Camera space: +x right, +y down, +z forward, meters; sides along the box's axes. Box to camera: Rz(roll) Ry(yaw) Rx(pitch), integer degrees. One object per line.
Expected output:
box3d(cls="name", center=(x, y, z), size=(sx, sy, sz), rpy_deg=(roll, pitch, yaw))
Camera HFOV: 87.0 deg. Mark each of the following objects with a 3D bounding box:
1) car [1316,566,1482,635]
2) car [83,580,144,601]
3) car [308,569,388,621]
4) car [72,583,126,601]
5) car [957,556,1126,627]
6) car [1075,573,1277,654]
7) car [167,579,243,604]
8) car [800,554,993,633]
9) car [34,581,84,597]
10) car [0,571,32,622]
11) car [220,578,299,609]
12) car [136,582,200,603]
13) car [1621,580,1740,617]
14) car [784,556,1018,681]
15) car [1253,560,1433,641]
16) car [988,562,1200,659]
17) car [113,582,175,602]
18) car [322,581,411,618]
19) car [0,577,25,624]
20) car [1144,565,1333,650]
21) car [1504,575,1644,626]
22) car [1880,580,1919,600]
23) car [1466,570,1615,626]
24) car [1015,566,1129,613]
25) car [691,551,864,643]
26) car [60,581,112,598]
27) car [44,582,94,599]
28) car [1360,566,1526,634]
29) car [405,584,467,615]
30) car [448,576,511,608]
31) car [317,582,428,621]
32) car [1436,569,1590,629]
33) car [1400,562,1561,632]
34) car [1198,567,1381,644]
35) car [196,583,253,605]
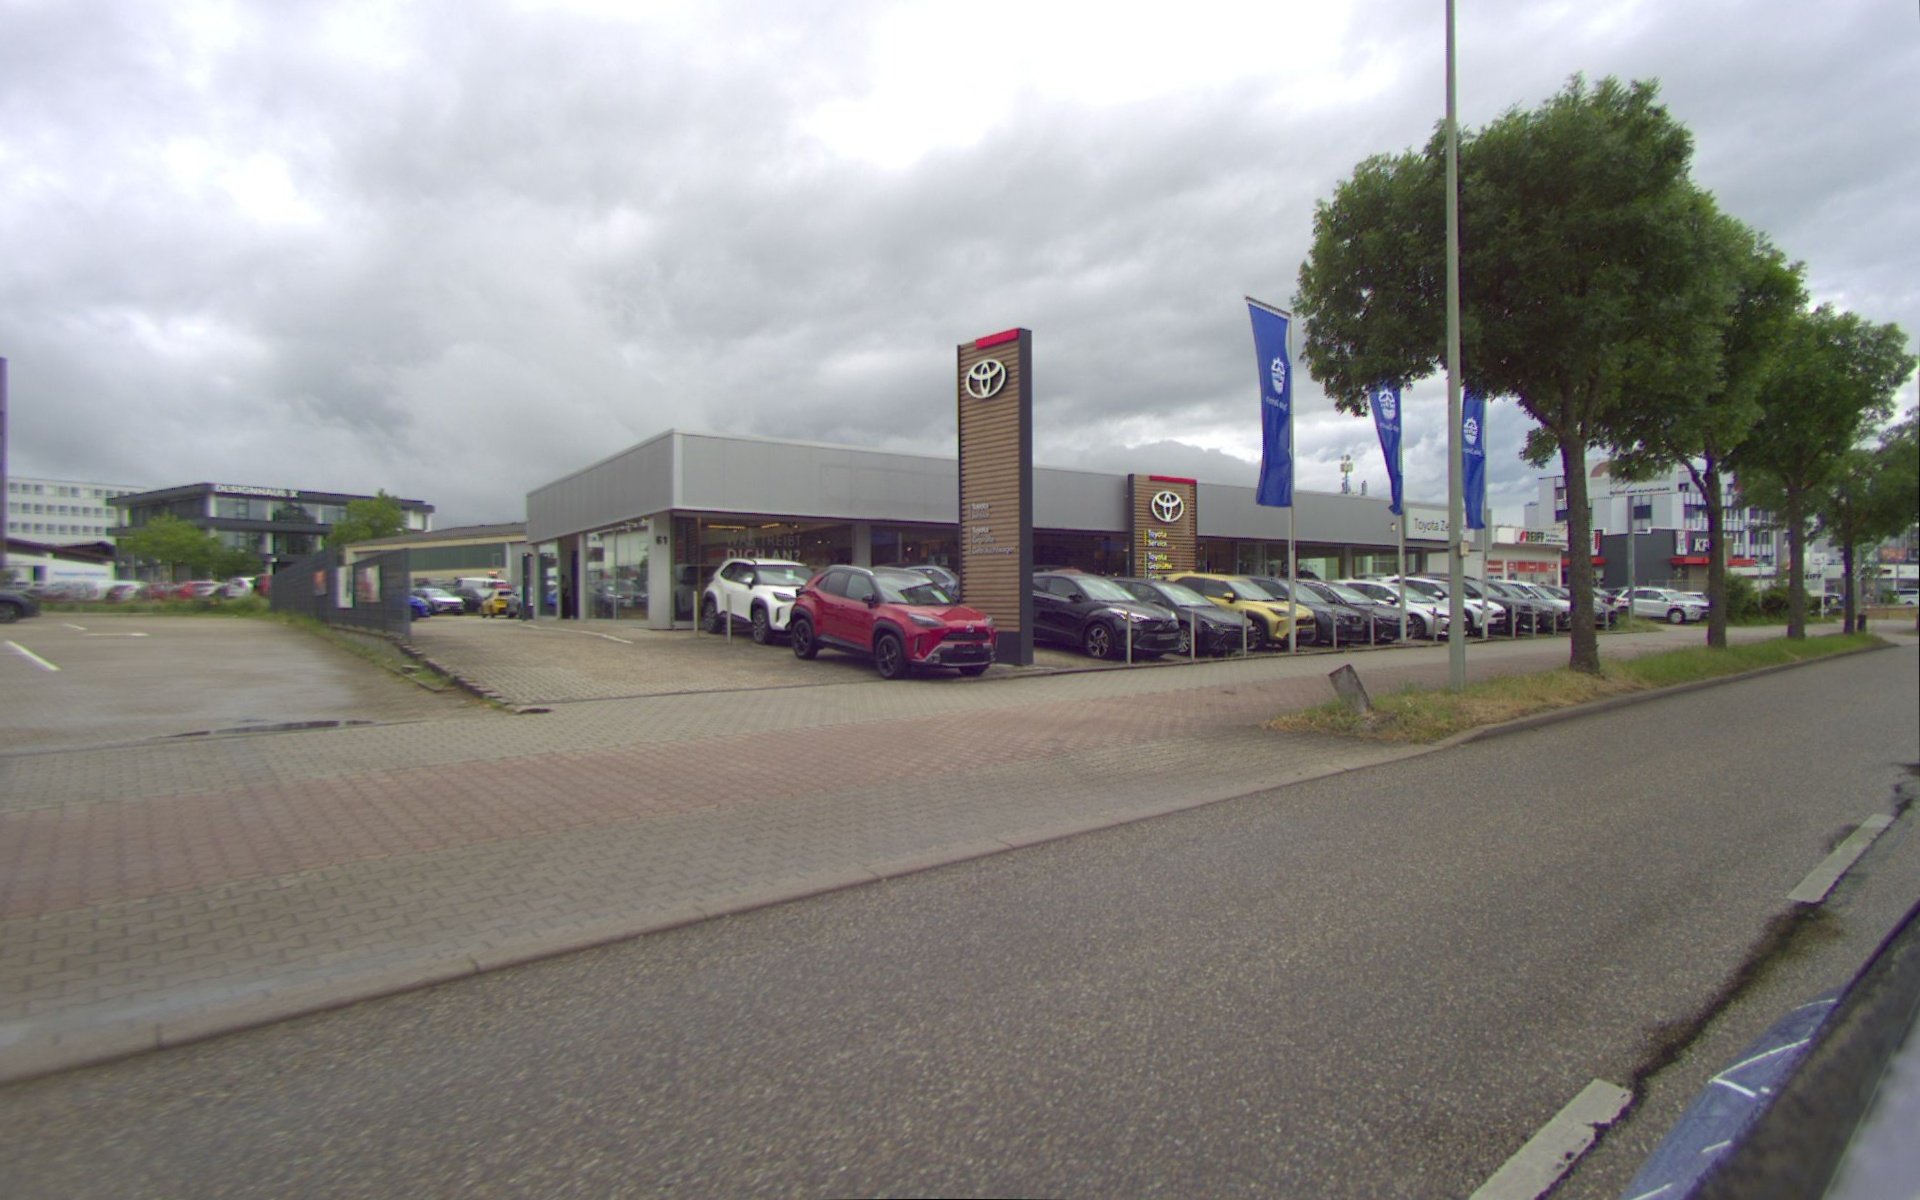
box3d(cls="car", center=(12.332, -0.007, 28.633), size=(1.778, 1.809, 3.999), rpy_deg=(0, 1, -36))
box3d(cls="car", center=(-62.651, -0.704, 74.972), size=(1.416, 1.508, 3.185), rpy_deg=(0, 1, 28))
box3d(cls="car", center=(-20.853, -0.140, 34.440), size=(1.756, 1.664, 3.658), rpy_deg=(1, -1, -40))
box3d(cls="car", center=(-64.682, -0.629, 76.059), size=(1.309, 1.316, 2.845), rpy_deg=(0, 1, 28))
box3d(cls="car", center=(2.104, -0.239, 25.550), size=(4.047, 1.641, 1.879), rpy_deg=(0, 2, -38))
box3d(cls="car", center=(4.494, 0.220, 21.517), size=(1.767, 1.558, 3.997), rpy_deg=(0, 1, -39))
box3d(cls="car", center=(-48.964, -0.574, 65.685), size=(1.606, 1.621, 3.658), rpy_deg=(0, 1, 28))
box3d(cls="car", center=(-1.413, -0.184, 23.139), size=(4.047, 1.641, 1.879), rpy_deg=(0, 2, -38))
box3d(cls="car", center=(-76.016, -0.951, 85.395), size=(1.309, 1.356, 2.845), rpy_deg=(0, 1, 28))
box3d(cls="car", center=(-32.590, -0.114, 32.601), size=(1.669, 1.687, 3.935), rpy_deg=(0, 1, 45))
box3d(cls="car", center=(-42.705, -0.434, 61.764), size=(1.606, 1.822, 3.658), rpy_deg=(0, 1, 28))
box3d(cls="car", center=(-54.659, -0.551, 69.893), size=(1.492, 1.406, 3.185), rpy_deg=(0, 1, 28))
box3d(cls="car", center=(32.942, -0.058, 46.400), size=(1.943, 1.617, 4.076), rpy_deg=(0, 0, -18))
box3d(cls="car", center=(-1.044, 0.185, 15.870), size=(1.763, 1.623, 3.852), rpy_deg=(0, 3, -38))
box3d(cls="car", center=(9.889, -0.055, 26.390), size=(1.778, 1.808, 4.001), rpy_deg=(0, 4, -36))
box3d(cls="car", center=(2.545, 0.122, 19.994), size=(1.812, 1.667, 3.997), rpy_deg=(0, 2, -39))
box3d(cls="car", center=(-58.257, -0.599, 72.293), size=(1.492, 1.406, 3.185), rpy_deg=(0, 1, 28))
box3d(cls="car", center=(-24.987, -0.015, 42.657), size=(3.093, 1.473, 1.336), rpy_deg=(0, -1, -40))
box3d(cls="car", center=(-36.043, 0.004, 36.093), size=(1.669, 1.687, 3.935), rpy_deg=(0, 1, 45))
box3d(cls="car", center=(6.288, 0.097, 23.180), size=(1.638, 1.584, 3.847), rpy_deg=(0, 4, -41))
box3d(cls="car", center=(21.878, -0.020, 36.188), size=(1.795, 1.478, 3.844), rpy_deg=(0, 5, -39))
box3d(cls="car", center=(96.384, -1.006, 102.188), size=(1.958, 2.039, 4.797), rpy_deg=(0, 1, -22))
box3d(cls="car", center=(19.924, -0.109, 34.867), size=(1.778, 1.562, 4.002), rpy_deg=(0, 5, -36))
box3d(cls="car", center=(3.841, -0.391, 35.144), size=(1.643, 1.555, 3.998), rpy_deg=(0, 1, -37))
box3d(cls="car", center=(-3.745, -0.134, 20.197), size=(1.845, 1.641, 4.124), rpy_deg=(0, 2, -35))
box3d(cls="car", center=(-68.075, -0.811, 78.855), size=(1.309, 1.316, 2.845), rpy_deg=(0, 1, 28))
box3d(cls="car", center=(-73.506, -0.781, 83.510), size=(1.309, 1.316, 2.845), rpy_deg=(0, 1, 28))
box3d(cls="car", center=(14.333, -0.044, 30.189), size=(1.780, 1.606, 3.999), rpy_deg=(1, 5, -40))
box3d(cls="car", center=(-30.962, -0.053, 59.734), size=(3.770, 1.710, 1.817), rpy_deg=(1, 1, 37))
box3d(cls="car", center=(-31.962, -0.559, 67.321), size=(4.062, 2.039, 1.774), rpy_deg=(1, 1, 30))
box3d(cls="car", center=(-22.138, 0.058, 38.187), size=(3.429, 1.383, 1.464), rpy_deg=(0, -1, -40))
box3d(cls="car", center=(18.066, -0.094, 33.234), size=(1.778, 1.603, 4.002), rpy_deg=(0, 5, -36))
box3d(cls="car", center=(16.160, -0.156, 31.585), size=(1.778, 1.807, 4.002), rpy_deg=(0, 5, -36))
box3d(cls="car", center=(8.035, 0.075, 24.991), size=(1.679, 1.565, 4.001), rpy_deg=(0, 4, -36))
box3d(cls="car", center=(-46.768, -0.428, 64.392), size=(1.224, 1.356, 2.690), rpy_deg=(0, 1, 28))
